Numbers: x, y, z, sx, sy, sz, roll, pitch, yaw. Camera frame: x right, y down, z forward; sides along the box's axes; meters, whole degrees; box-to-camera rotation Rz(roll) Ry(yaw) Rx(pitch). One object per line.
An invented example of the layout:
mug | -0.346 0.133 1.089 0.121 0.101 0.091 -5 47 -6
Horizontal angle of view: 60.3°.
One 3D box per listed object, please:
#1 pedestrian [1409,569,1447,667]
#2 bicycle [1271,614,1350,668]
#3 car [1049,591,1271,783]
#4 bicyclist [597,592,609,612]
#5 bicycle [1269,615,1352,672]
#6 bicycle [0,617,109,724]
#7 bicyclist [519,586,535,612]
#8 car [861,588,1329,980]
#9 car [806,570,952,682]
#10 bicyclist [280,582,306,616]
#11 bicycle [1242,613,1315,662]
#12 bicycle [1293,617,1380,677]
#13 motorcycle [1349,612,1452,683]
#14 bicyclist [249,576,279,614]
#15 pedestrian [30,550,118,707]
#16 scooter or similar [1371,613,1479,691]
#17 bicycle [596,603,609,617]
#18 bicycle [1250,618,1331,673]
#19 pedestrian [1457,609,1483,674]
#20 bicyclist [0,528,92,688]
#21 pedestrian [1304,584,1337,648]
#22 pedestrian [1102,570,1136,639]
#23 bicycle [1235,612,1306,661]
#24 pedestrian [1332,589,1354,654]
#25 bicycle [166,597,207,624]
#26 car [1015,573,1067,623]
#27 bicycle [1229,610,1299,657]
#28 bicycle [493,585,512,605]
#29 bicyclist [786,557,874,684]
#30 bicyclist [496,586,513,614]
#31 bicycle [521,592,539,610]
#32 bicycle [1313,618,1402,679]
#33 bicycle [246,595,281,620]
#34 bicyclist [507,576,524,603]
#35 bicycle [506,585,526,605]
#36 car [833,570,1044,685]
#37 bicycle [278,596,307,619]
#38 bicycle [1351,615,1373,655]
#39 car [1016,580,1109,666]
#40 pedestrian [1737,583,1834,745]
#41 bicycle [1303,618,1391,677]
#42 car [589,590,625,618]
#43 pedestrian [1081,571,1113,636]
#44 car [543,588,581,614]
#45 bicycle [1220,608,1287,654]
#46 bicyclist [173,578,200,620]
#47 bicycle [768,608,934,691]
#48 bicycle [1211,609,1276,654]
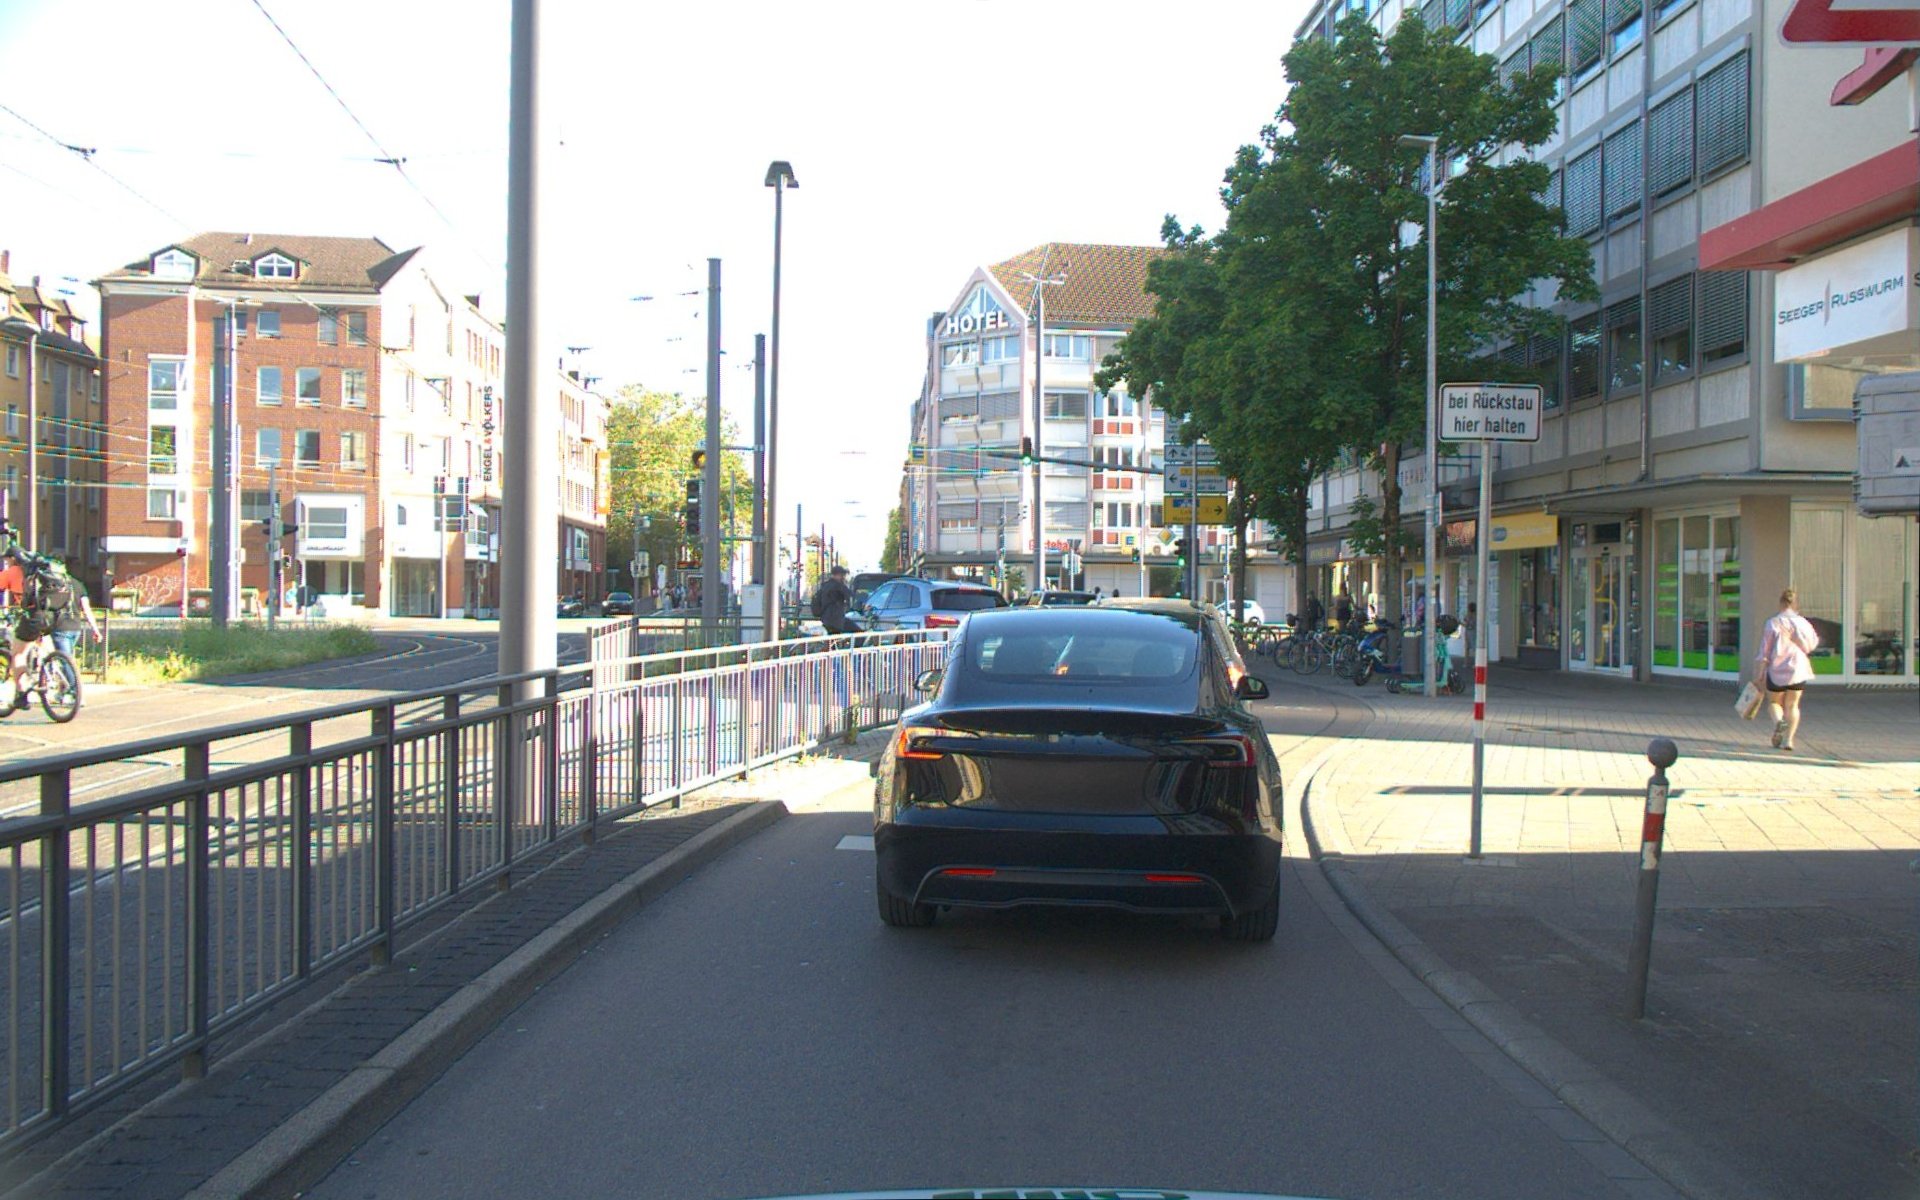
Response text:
pedestrian | 9.982 0.381 35.297 0.648 2.049 0.579 1 -1 1
bicycle | 7.501 0.871 35.440 1.616 1.118 0.350 1 -1 1
car | 1.764 0.671 15.005 1.714 1.480 4.003 1 0 6
bicyclist | -28.845 0.148 133.790 0.767 1.590 0.746 1 -1 1
bicycle | 7.097 0.887 33.485 1.620 1.118 0.349 1 -1 -11
bicycle | -9.269 0.684 16.384 1.563 1.011 0.404 1 -1 11
bicyclist | -26.750 -0.090 102.181 0.767 1.590 0.746 0 0 1
car | 0.660 0.718 8.417 1.791 1.481 4.002 1 0 4
car | -1.662 0.485 32.486 1.962 2.049 3.981 0 0 -17
bicyclist | -29.708 -0.029 73.682 0.689 1.496 0.973 0 0 7
bicycle | 7.385 0.865 38.390 1.616 1.118 0.350 1 -1 1
bicycle | 7.280 0.909 31.960 1.620 1.118 0.349 1 -1 -11
motorcycle | 7.810 0.840 29.360 1.673 1.194 0.541 1 -1 -3
bicyclist | -28.329 -0.191 67.316 0.880 1.529 0.696 1 -1 -1
pedestrian | -9.891 0.314 18.493 0.579 1.710 0.773 1 -1 -6
scooter or similar | 7.664 0.839 27.284 1.610 1.236 0.644 1 -1 30
bicycle | -28.860 0.796 133.620 0.518 1.107 2.225 1 0 1
bicycle | 6.878 0.946 34.429 1.620 1.118 0.349 1 -1 -11
pedestrian | 10.763 0.873 34.918 0.381 1.367 0.513 1 -1 1
bicyclist | -9.198 0.072 16.373 1.018 1.548 0.392 1 -1 11
pedestrian | 9.619 0.428 44.138 0.685 1.691 0.777 1 -1 -1
pedestrian | 4.772 0.135 49.684 0.902 2.049 0.972 1 -1 -1
bicycle | 7.401 0.866 39.418 1.616 1.118 0.350 1 -1 1
pedestrian | 10.293 0.578 44.437 0.515 1.740 0.403 1 -1 4
bicycle | -28.241 0.384 60.422 0.437 0.988 2.246 1 0 -1
car | 2.988 -0.055 61.900 1.685 1.781 3.753 1 0 -1
bicycle | 7.430 0.819 40.432 1.616 1.118 0.350 1 -1 1
bicycle | -26.785 -0.296 96.885 0.526 1.107 2.224 1 0 -1
bicyclist | -1.749 0.270 22.185 0.753 1.657 0.964 1 -1 -39
bicyclist | -26.839 0.008 97.477 0.768 1.590 0.746 1 -1 -1
bicycle | -26.733 0.071 102.838 0.518 1.108 2.284 0 0 1
bicycle | 7.481 0.918 31.118 1.620 1.118 0.349 1 -1 -11
bicycle | -28.347 0.321 67.351 0.513 0.988 2.246 1 0 -1
bicyclist | -26.881 -0.647 100.025 0.767 1.590 0.746 0 0 1
bicycle | -26.837 -0.299 99.958 0.518 1.107 2.284 4 -2 1
car | -0.435 0.411 26.509 1.859 1.691 4.125 1 0 -25
bicycle | -29.720 0.327 73.667 0.396 0.998 1.695 1 0 7
bicycle | 10.738 0.928 44.189 0.325 1.052 1.257 1 0 3
car | 2.264 0.497 37.281 1.566 1.809 3.977 1 0 -4
pedestrian | 8.935 0.672 17.938 0.871 1.696 0.808 1 -1 23
bicycle | 7.385 0.906 31.538 1.620 1.079 0.349 1 -1 -11
car | -22.521 0.272 105.658 1.663 1.762 3.704 1 0 -3
pedestrian | 4.392 0.109 52.911 0.902 2.049 0.972 1 -1 -1
car | -24.628 0.086 102.431 1.677 1.553 4.031 1 0 -5
bicycle | 7.365 0.776 41.477 1.616 1.118 0.350 0 0 1
bicyclist | -28.234 -0.035 60.395 0.620 1.529 0.696 1 -1 -1
bicycle | -1.453 0.667 22.430 2.313 1.072 0.622 1 -1 -39
bicycle | 7.295 0.800 42.569 1.616 1.118 0.350 1 -1 1
